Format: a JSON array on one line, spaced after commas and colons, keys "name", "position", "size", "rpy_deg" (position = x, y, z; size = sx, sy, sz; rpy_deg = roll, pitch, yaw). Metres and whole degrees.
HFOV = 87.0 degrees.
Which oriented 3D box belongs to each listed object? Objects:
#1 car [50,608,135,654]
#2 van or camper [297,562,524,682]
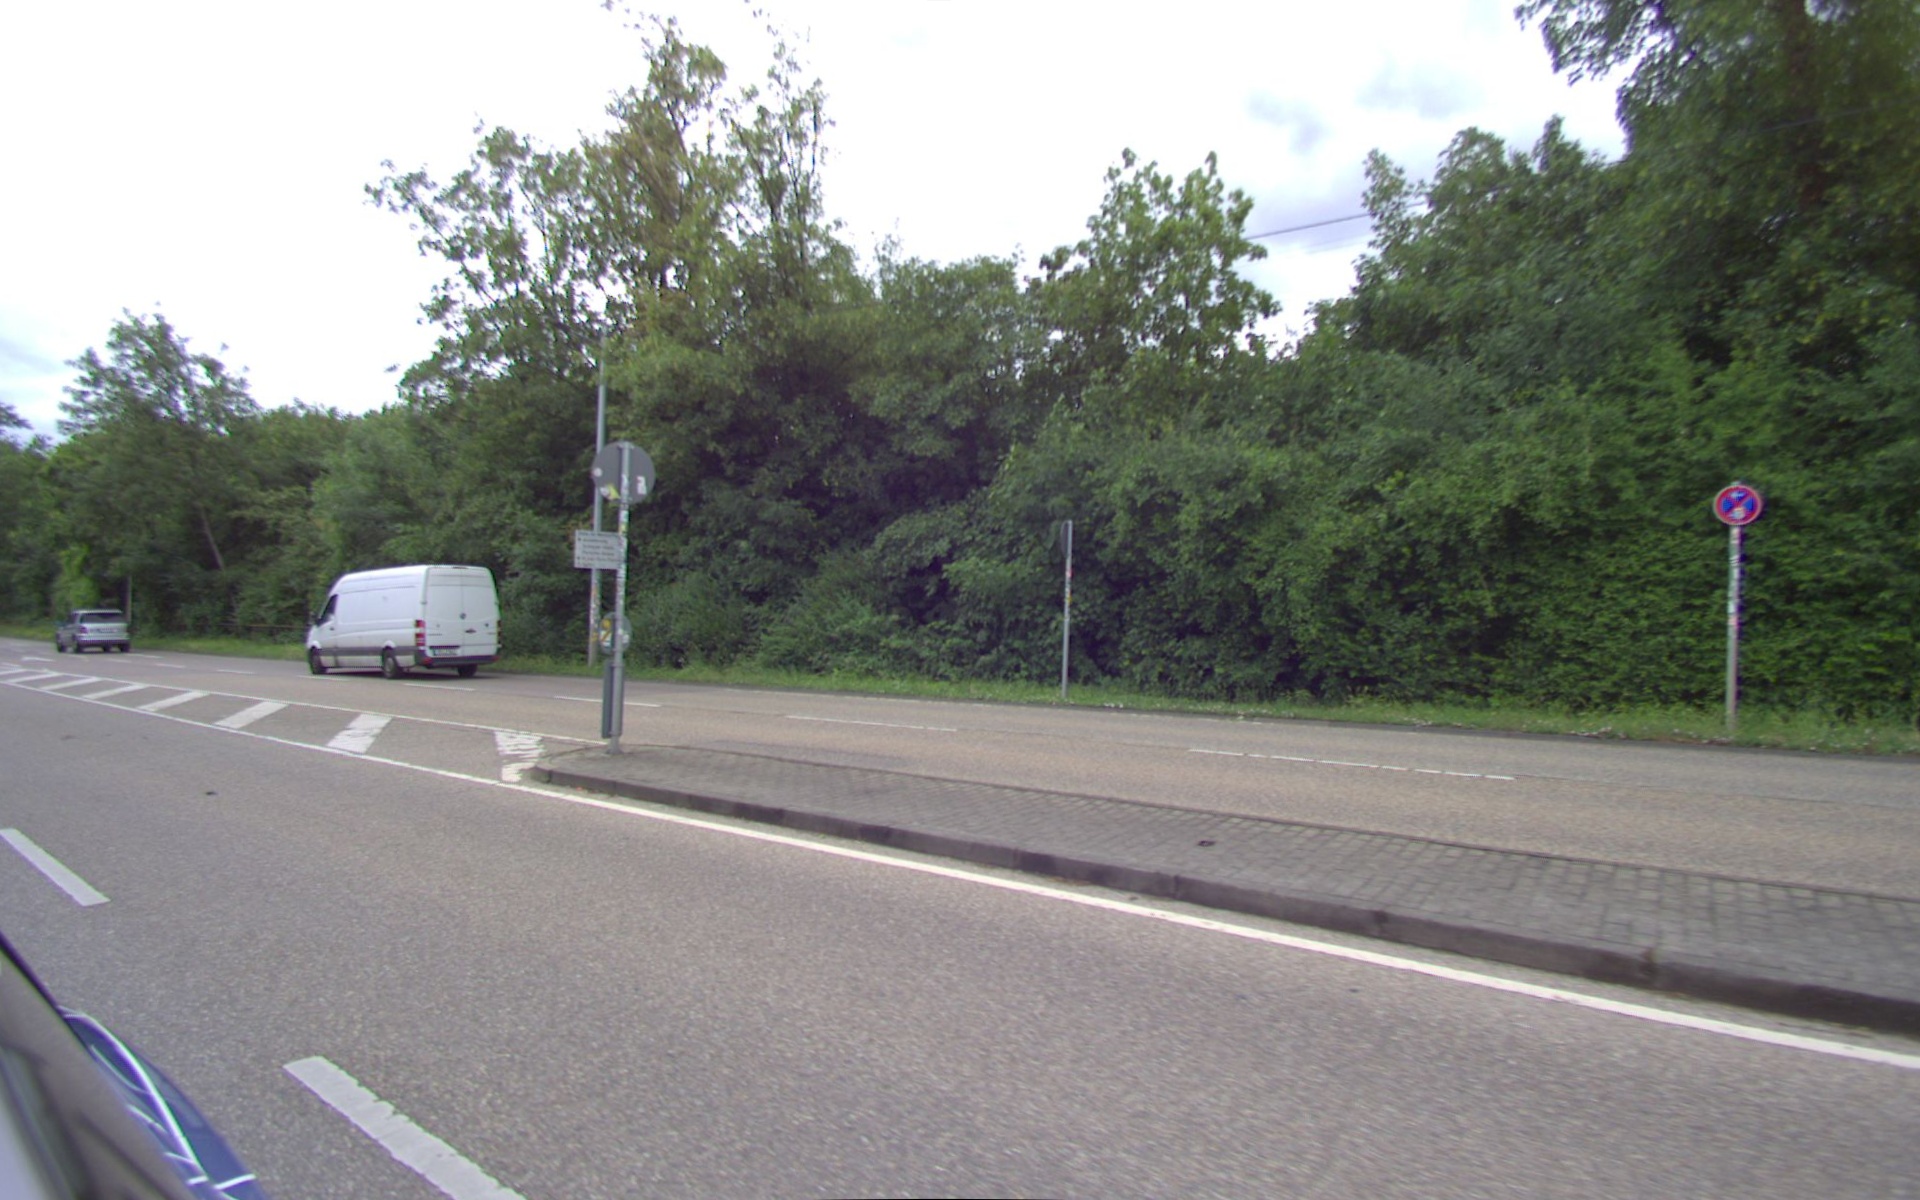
[{"name": "car", "position": [-36.482, 1.306, 42.531], "size": [4.375, 1.844, 1.797], "rpy_deg": [-2, -2, 37]}, {"name": "van or camper", "position": [-13.696, 0.509, 24.980], "size": [6.849, 2.573, 2.262], "rpy_deg": [-1, 2, 38]}]
